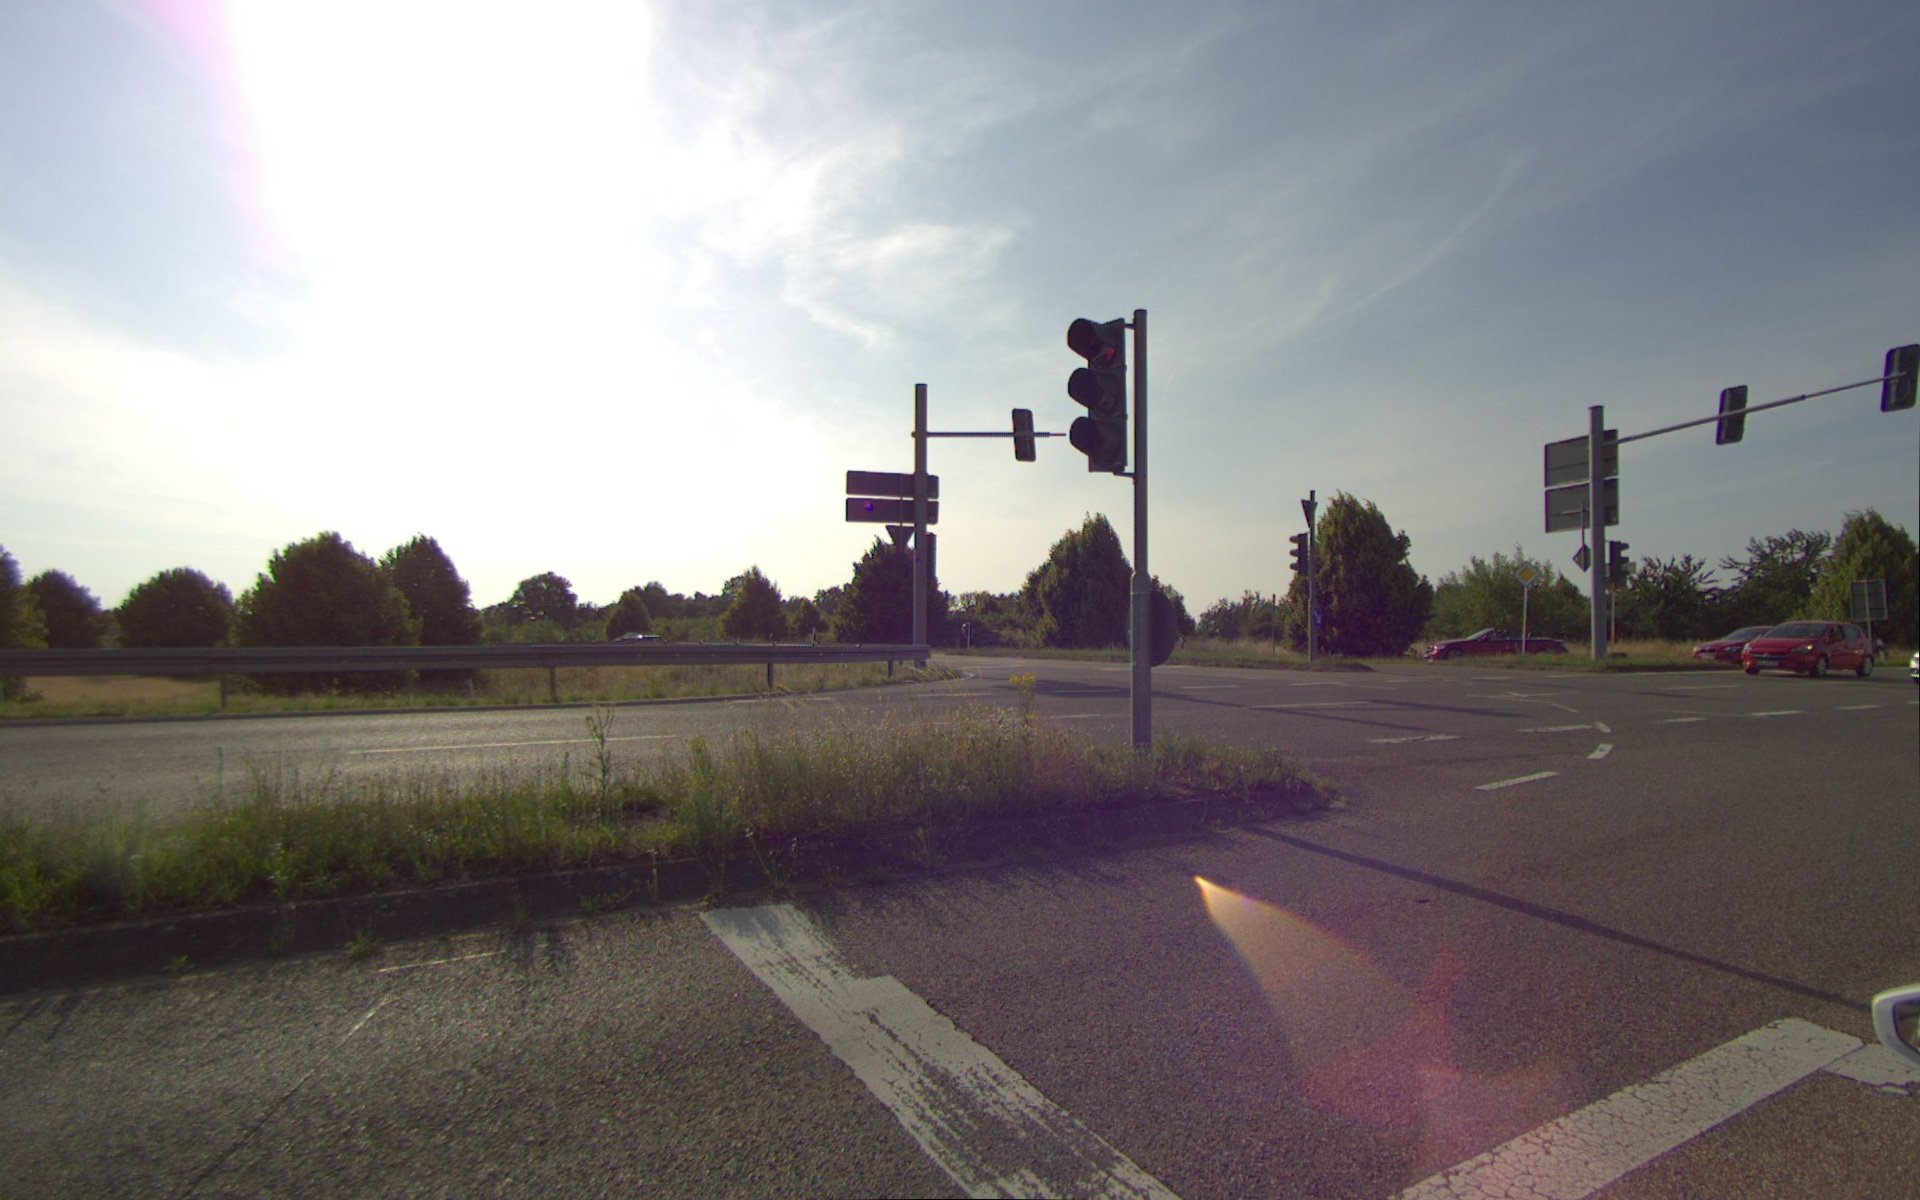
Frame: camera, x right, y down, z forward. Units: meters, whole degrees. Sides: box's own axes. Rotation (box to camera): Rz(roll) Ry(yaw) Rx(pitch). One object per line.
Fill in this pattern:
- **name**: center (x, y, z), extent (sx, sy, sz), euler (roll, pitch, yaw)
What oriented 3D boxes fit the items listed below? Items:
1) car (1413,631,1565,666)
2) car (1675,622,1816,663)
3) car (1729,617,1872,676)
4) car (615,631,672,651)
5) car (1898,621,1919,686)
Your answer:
- **car**: center (18.780, 1.712, 35.843), extent (4.386, 1.116, 2.001), euler (1, -1, 10)
- **car**: center (27.154, 1.455, 34.753), extent (4.141, 1.344, 1.660), euler (1, -1, -13)
- **car**: center (22.856, 1.237, 27.301), extent (3.757, 1.507, 1.714), euler (1, -1, -28)
- **car**: center (-21.925, 2.819, 69.488), extent (4.598, 1.299, 1.717), euler (-1, -2, 43)
- **car**: center (24.544, 1.271, 23.873), extent (4.589, 1.507, 1.780), euler (1, -1, -26)
